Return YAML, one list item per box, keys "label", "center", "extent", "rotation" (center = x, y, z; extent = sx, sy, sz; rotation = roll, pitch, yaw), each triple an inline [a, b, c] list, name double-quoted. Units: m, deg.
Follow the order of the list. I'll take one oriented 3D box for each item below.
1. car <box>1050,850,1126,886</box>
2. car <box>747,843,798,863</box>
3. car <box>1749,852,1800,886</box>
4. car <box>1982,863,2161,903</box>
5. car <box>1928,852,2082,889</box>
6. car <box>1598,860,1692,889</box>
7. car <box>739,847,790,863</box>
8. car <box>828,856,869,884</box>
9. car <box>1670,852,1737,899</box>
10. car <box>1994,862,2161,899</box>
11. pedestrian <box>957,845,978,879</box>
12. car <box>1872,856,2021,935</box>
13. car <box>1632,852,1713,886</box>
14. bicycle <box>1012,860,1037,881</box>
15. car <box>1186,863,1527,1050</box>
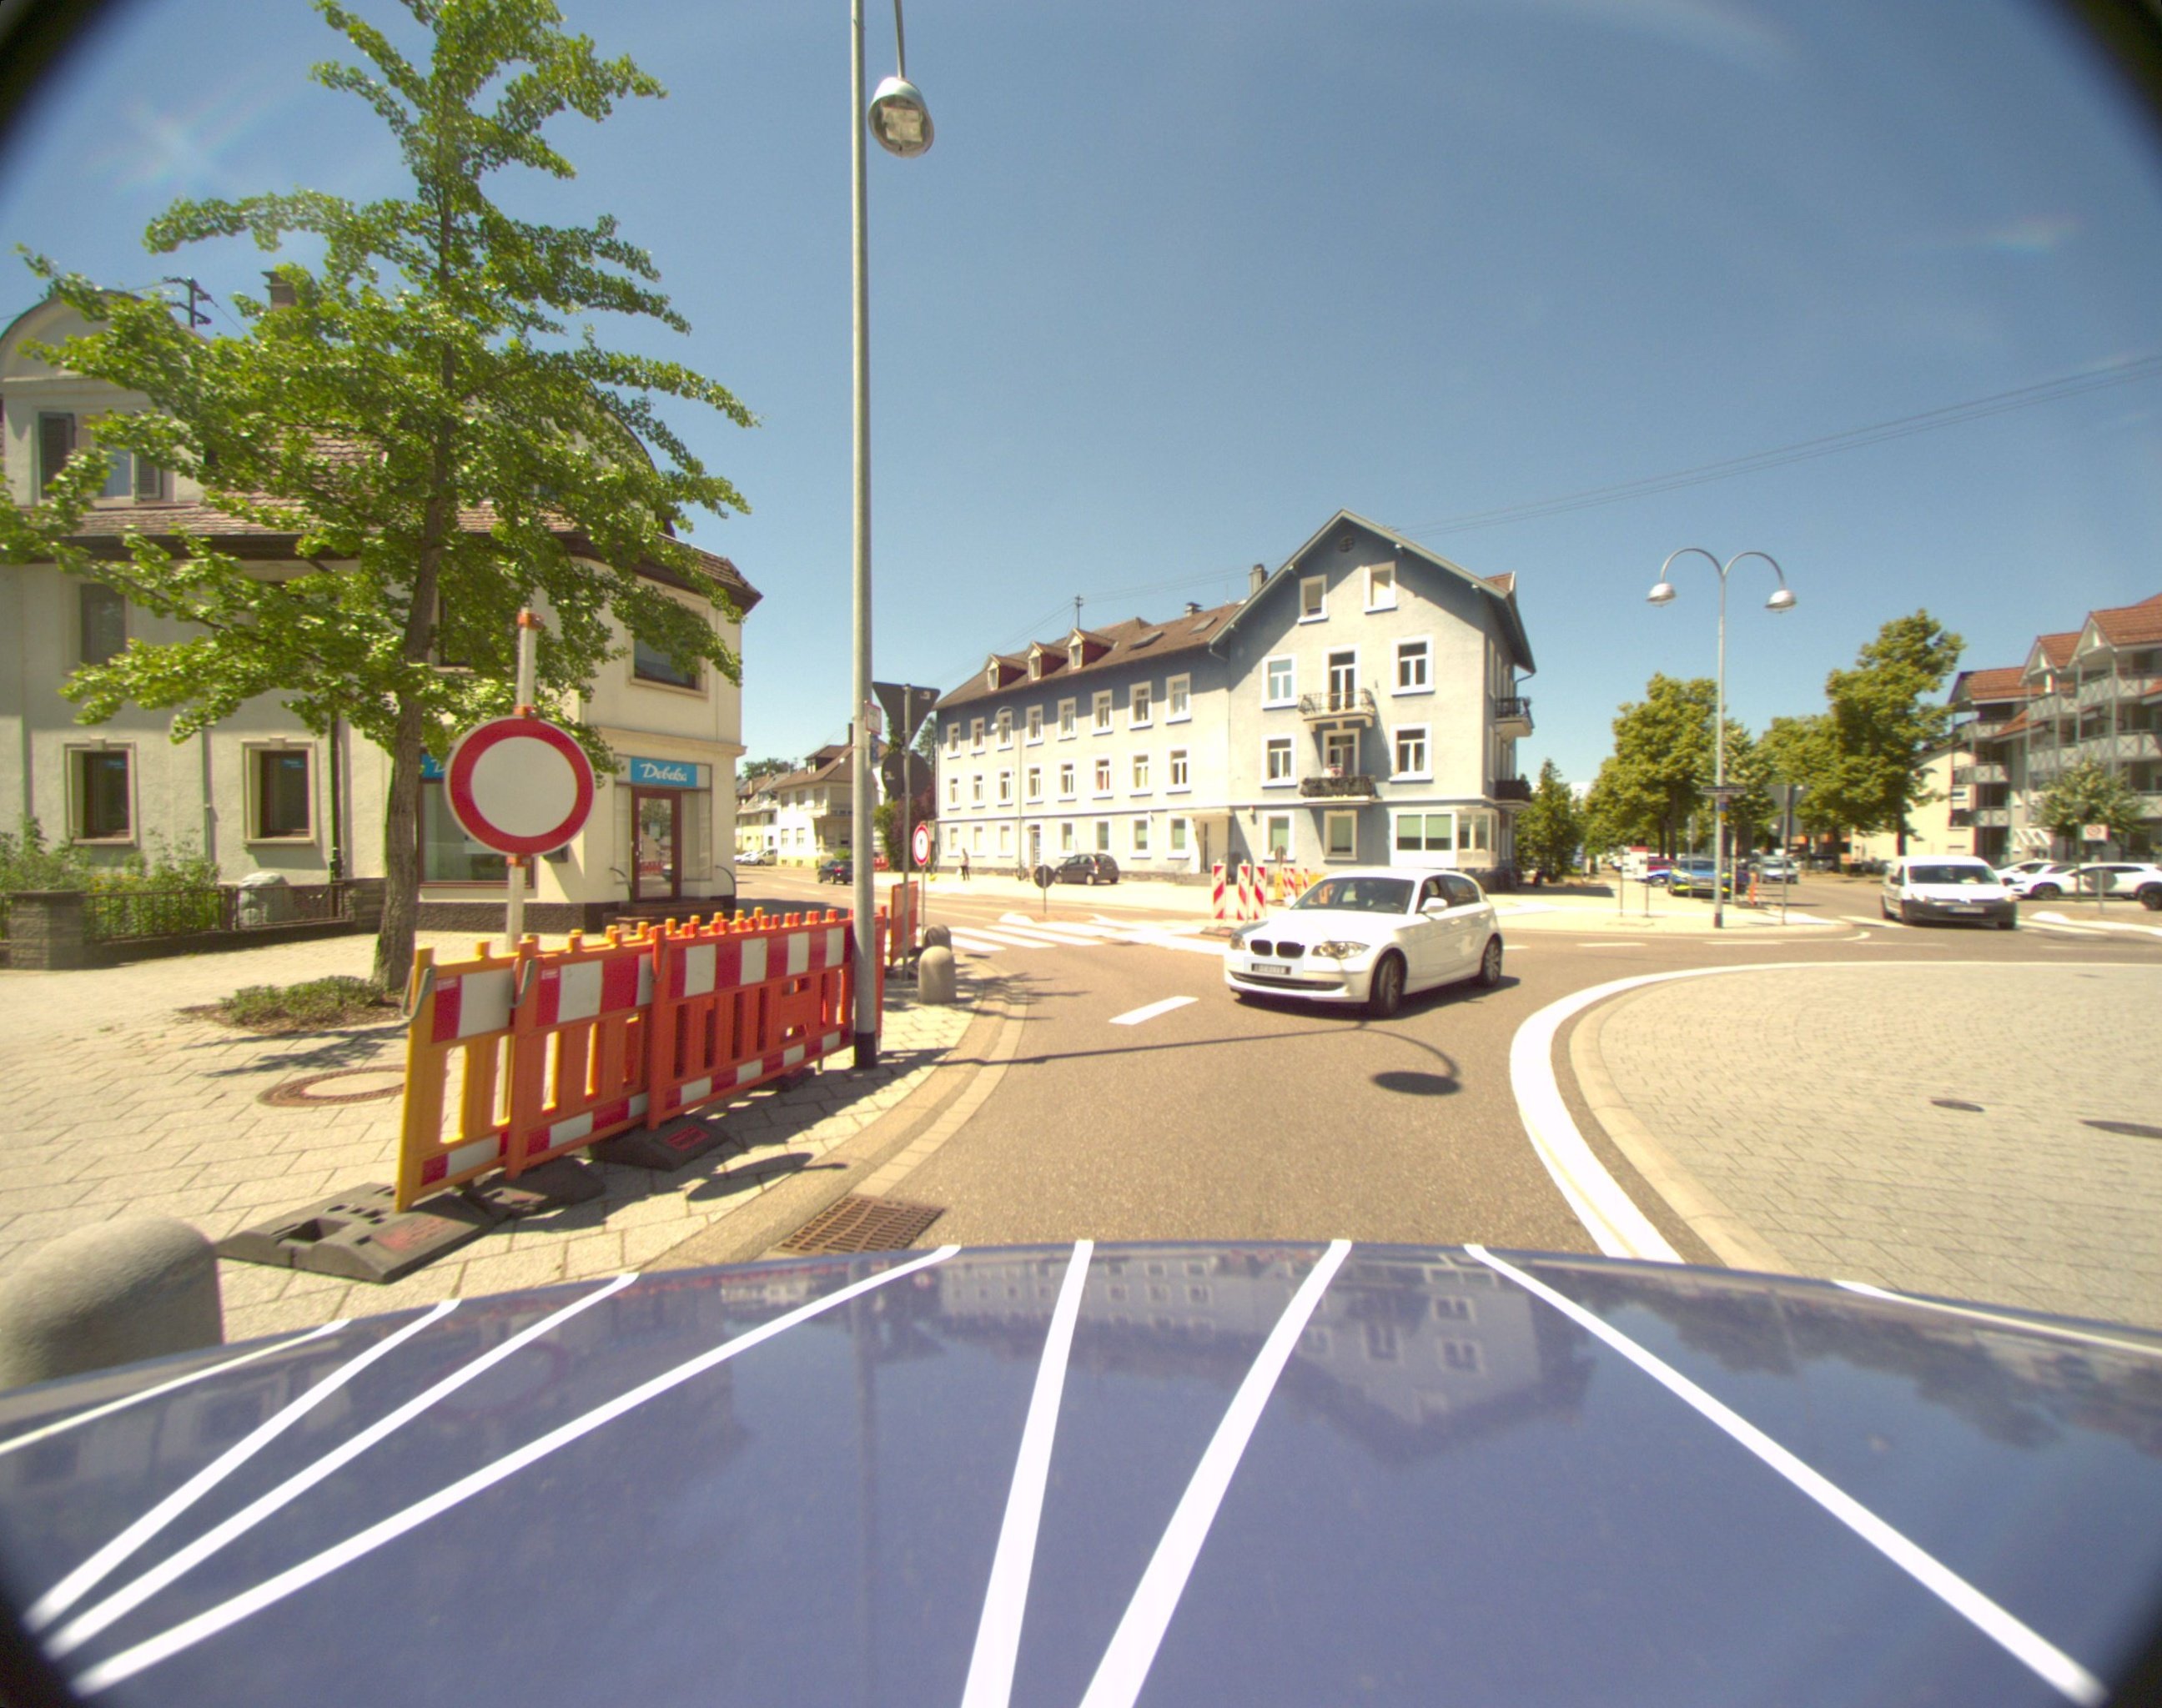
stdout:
- label: "car"
  center: [0.297, 0.645, 37.273]
  extent: [1.586, 1.526, 3.763]
  rotation: [-1, 3, -40]
- label: "car"
  center: [-31.226, -0.064, 76.937]
  extent: [1.845, 1.866, 4.375]
  rotation: [1, -1, 43]
- label: "car"
  center: [44.813, 0.932, 49.192]
  extent: [1.994, 2.002, 4.007]
  rotation: [1, 2, 36]
- label: "car"
  center: [40.975, 1.134, 31.439]
  extent: [4.396, 1.483, 1.987]
  rotation: [1, 0, 35]
- label: "car"
  center: [44.991, 0.758, 37.168]
  extent: [4.360, 1.660, 1.987]
  rotation: [1, 0, 35]
- label: "car"
  center: [30.818, 1.067, 41.634]
  extent: [4.020, 1.352, 1.664]
  rotation: [1, 4, 35]
- label: "car"
  center: [-32.780, 0.129, 78.825]
  extent: [4.495, 1.486, 1.970]
  rotation: [2, -1, -39]
- label: "car"
  center: [-13.289, 0.893, 43.304]
  extent: [1.667, 1.443, 4.014]
  rotation: [2, 0, -25]
- label: "car"
  center: [25.548, 0.799, 31.302]
  extent: [1.776, 1.767, 4.252]
  rotation: [1, 1, 35]
- label: "car"
  center: [43.427, 1.111, 33.229]
  extent: [4.070, 1.483, 1.987]
  rotation: [1, 0, 35]
- label: "pedestrian"
  center: [-6.378, 0.448, 42.682]
  extent: [0.759, 1.838, 0.770]
  rotation: [-5, 4, -41]
- label: "car"
  center: [22.145, 0.972, 19.637]
  extent: [1.776, 1.767, 4.252]
  rotation: [0, 0, 38]
- label: "car"
  center: [37.991, 0.924, 48.947]
  extent: [3.988, 2.002, 2.004]
  rotation: [1, 3, 36]
- label: "bicycle"
  center: [-3.016, 0.880, 40.369]
  extent: [0.498, 0.972, 1.968]
  rotation: [-5, 4, -30]
- label: "car"
  center: [3.255, 0.910, 8.578]
  extent: [4.137, 1.542, 1.782]
  rotation: [0, 1, -40]
